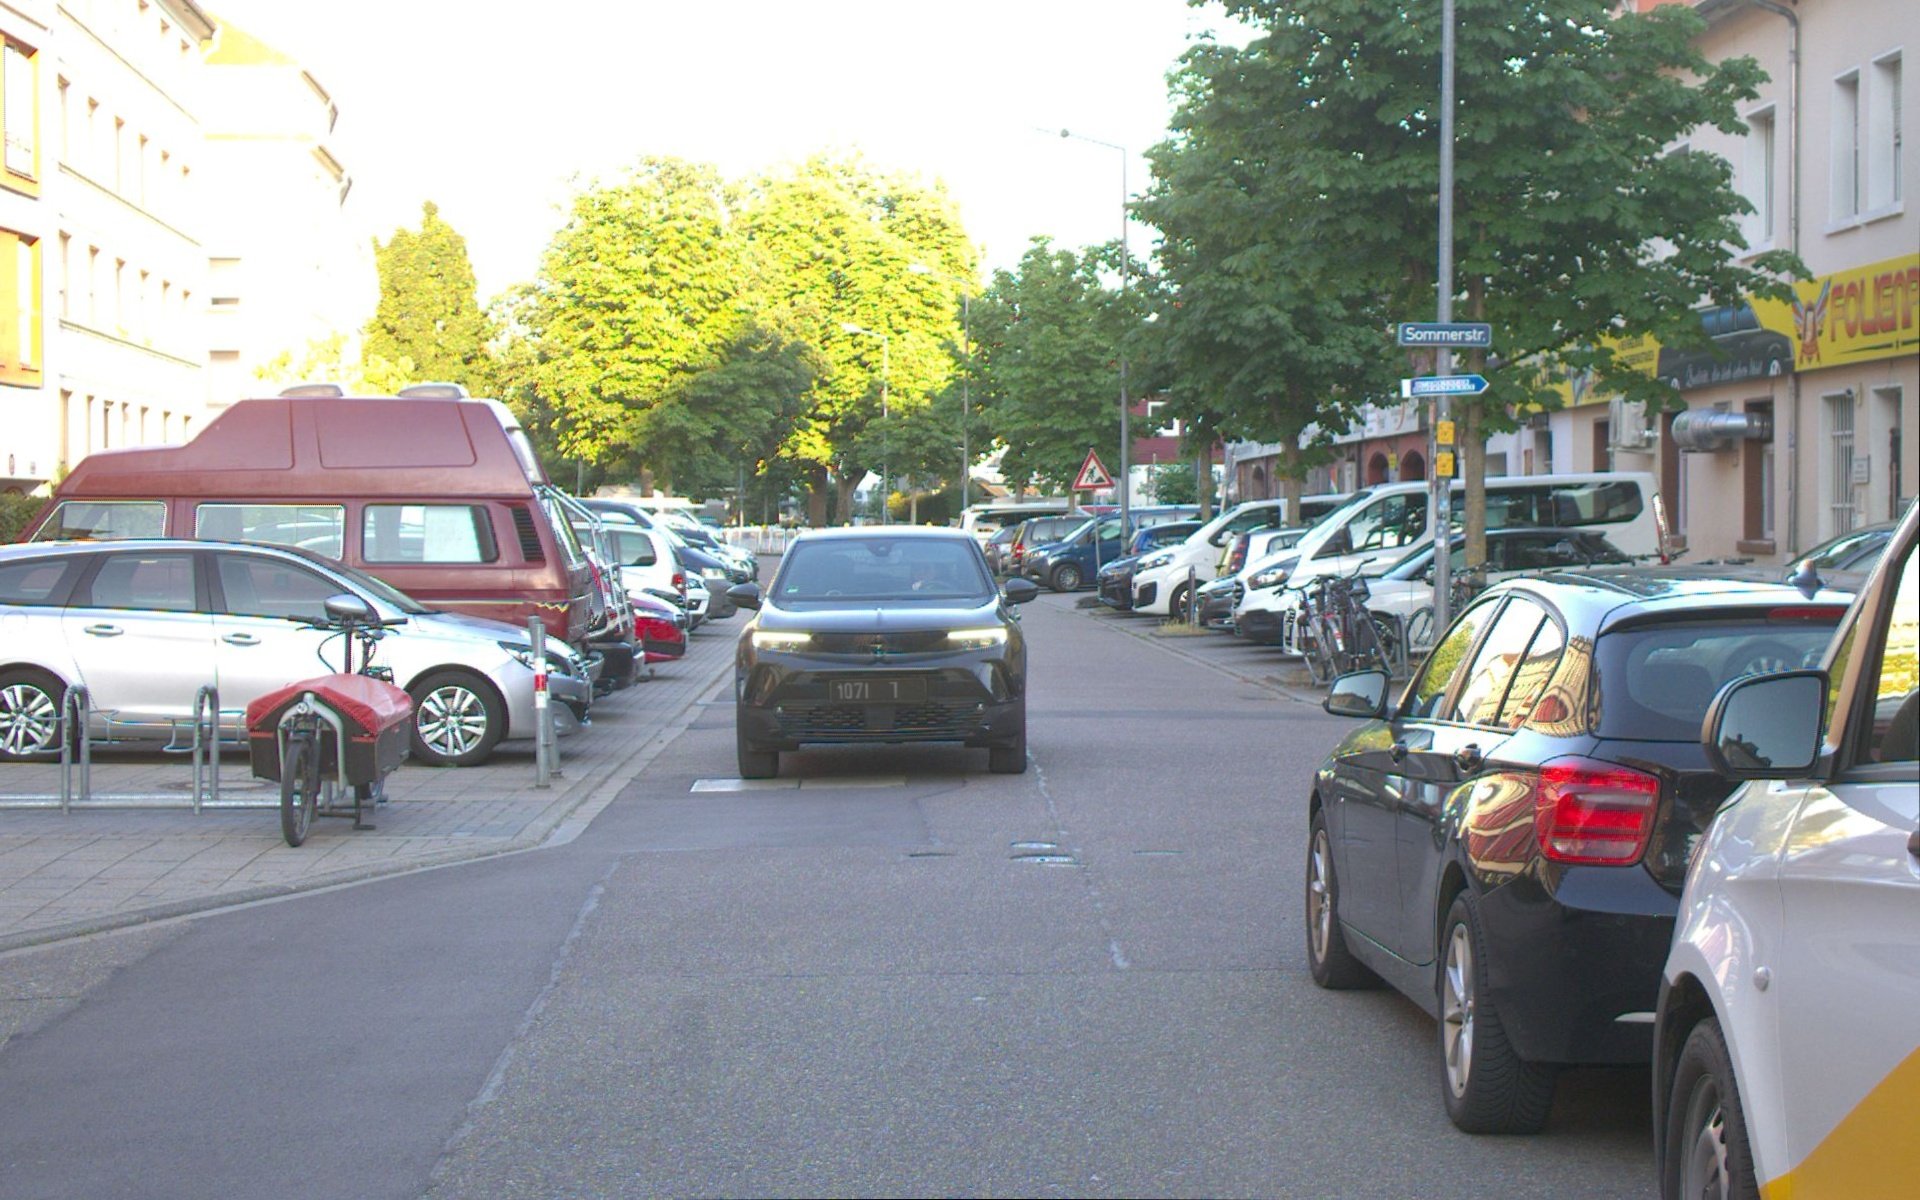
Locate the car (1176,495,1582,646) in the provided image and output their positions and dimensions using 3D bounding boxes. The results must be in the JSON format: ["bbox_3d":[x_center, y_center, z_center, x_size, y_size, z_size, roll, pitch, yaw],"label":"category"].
[{"bbox_3d":[5.345,-0.397,44.354,4.944,1.736,2.049,-2,1,0],"label":"car"}]

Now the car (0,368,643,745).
[{"bbox_3d":[-4.723,-0.338,25.390,4.511,2.575,2.000,1,1,1],"label":"car"}]

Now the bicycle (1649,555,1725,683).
[{"bbox_3d":[6.756,0.164,31.994,0.353,1.139,1.481,-1,2,-1],"label":"bicycle"}]

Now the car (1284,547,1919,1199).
[{"bbox_3d":[2.043,0.600,9.791,1.721,1.419,4.254,1,1,-1],"label":"car"}]

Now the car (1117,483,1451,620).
[{"bbox_3d":[5.068,-0.776,54.214,4.943,1.951,2.049,-2,1,-2],"label":"car"}]

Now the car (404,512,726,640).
[{"bbox_3d":[-5.445,-0.355,47.819,4.256,1.646,1.888,1,1,-1],"label":"car"}]

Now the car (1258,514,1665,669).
[{"bbox_3d":[5.240,-0.112,36.226,3.918,1.446,1.769,-2,2,-3],"label":"car"}]

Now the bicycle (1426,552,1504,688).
[{"bbox_3d":[4.702,0.169,32.089,0.386,1.196,2.017,-1,2,-1],"label":"bicycle"}]

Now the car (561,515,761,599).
[{"bbox_3d":[-6.598,-0.964,76.230,4.256,1.743,2.000,1,1,-1],"label":"car"}]

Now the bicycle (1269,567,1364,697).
[{"bbox_3d":[3.293,0.277,31.876,0.438,1.126,2.018,-1,2,-6],"label":"bicycle"}]

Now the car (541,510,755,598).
[{"bbox_3d":[-6.446,-0.976,71.457,4.256,1.709,2.000,1,1,-1],"label":"car"}]

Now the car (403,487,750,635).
[{"bbox_3d":[-5.568,-0.586,50.369,4.850,2.014,1.907,1,1,-1],"label":"car"}]

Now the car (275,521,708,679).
[{"bbox_3d":[-4.794,-0.021,35.578,4.209,1.484,1.850,1,1,0],"label":"car"}]

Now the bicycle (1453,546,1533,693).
[{"bbox_3d":[4.964,0.158,32.100,0.386,1.300,2.017,-1,2,-1],"label":"bicycle"}]

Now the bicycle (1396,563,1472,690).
[{"bbox_3d":[4.417,0.230,32.102,0.386,1.110,2.017,-1,2,-1],"label":"bicycle"}]

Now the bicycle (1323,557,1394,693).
[{"bbox_3d":[3.707,0.214,32.064,0.386,1.196,2.017,-1,2,-1],"label":"bicycle"}]

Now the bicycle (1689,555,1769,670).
[{"bbox_3d":[7.159,0.104,32.041,0.387,1.013,1.481,-1,2,-1],"label":"bicycle"}]

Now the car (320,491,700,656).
[{"bbox_3d":[-5.309,-0.333,40.990,4.256,1.830,2.000,1,1,-1],"label":"car"}]

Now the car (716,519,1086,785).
[{"bbox_3d":[-0.278,0.264,22.078,1.780,1.512,3.999,-1,1,7],"label":"car"}]

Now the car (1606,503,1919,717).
[{"bbox_3d":[7.249,0.035,26.883,4.050,1.509,1.756,-1,3,0],"label":"car"}]

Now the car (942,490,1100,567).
[{"bbox_3d":[1.616,-1.926,92.254,3.967,1.905,2.050,-2,1,-5],"label":"car"}]

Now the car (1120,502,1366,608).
[{"bbox_3d":[5.242,-0.850,64.019,4.316,1.798,1.811,-2,1,-2],"label":"car"}]

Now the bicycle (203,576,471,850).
[{"bbox_3d":[-3.123,0.520,17.543,0.808,1.217,2.865,1,1,0],"label":"bicycle"}]

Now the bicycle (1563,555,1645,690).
[{"bbox_3d":[5.967,0.197,31.918,0.445,1.196,1.481,-1,2,-1],"label":"bicycle"}]

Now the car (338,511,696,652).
[{"bbox_3d":[-5.543,-0.254,43.463,4.256,1.654,2.000,1,1,-1],"label":"car"}]

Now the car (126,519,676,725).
[{"bbox_3d":[-4.473,0.156,27.973,4.208,1.532,1.791,1,1,-3],"label":"car"}]

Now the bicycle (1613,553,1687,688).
[{"bbox_3d":[6.397,0.180,31.911,0.353,1.196,1.481,-1,1,-1],"label":"bicycle"}]

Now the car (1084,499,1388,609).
[{"bbox_3d":[4.710,-0.803,59.109,4.943,1.683,2.077,-2,1,-2],"label":"car"}]

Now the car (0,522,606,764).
[{"bbox_3d":[-4.709,0.252,22.825,4.615,1.455,1.881,1,1,-4],"label":"car"}]

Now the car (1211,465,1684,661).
[{"bbox_3d":[5.457,-0.435,39.007,4.990,1.976,2.220,-2,1,0],"label":"car"}]

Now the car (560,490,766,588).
[{"bbox_3d":[-6.792,-1.402,78.856,4.533,2.127,2.000,1,1,-1],"label":"car"}]

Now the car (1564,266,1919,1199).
[{"bbox_3d":[2.230,0.508,4.349,1.893,1.877,5.083,0,1,-2],"label":"car"}]

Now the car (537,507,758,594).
[{"bbox_3d":[-6.220,-0.994,68.716,4.256,1.616,2.000,1,1,-2],"label":"car"}]

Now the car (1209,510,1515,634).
[{"bbox_3d":[5.449,-0.401,46.989,3.911,1.521,1.939,-2,1,0],"label":"car"}]

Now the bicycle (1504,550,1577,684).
[{"bbox_3d":[5.387,0.144,31.945,0.386,1.196,1.481,-1,1,-1],"label":"bicycle"}]

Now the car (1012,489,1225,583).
[{"bbox_3d":[3.513,-1.431,76.573,4.478,1.905,1.688,-2,1,-5],"label":"car"}]
